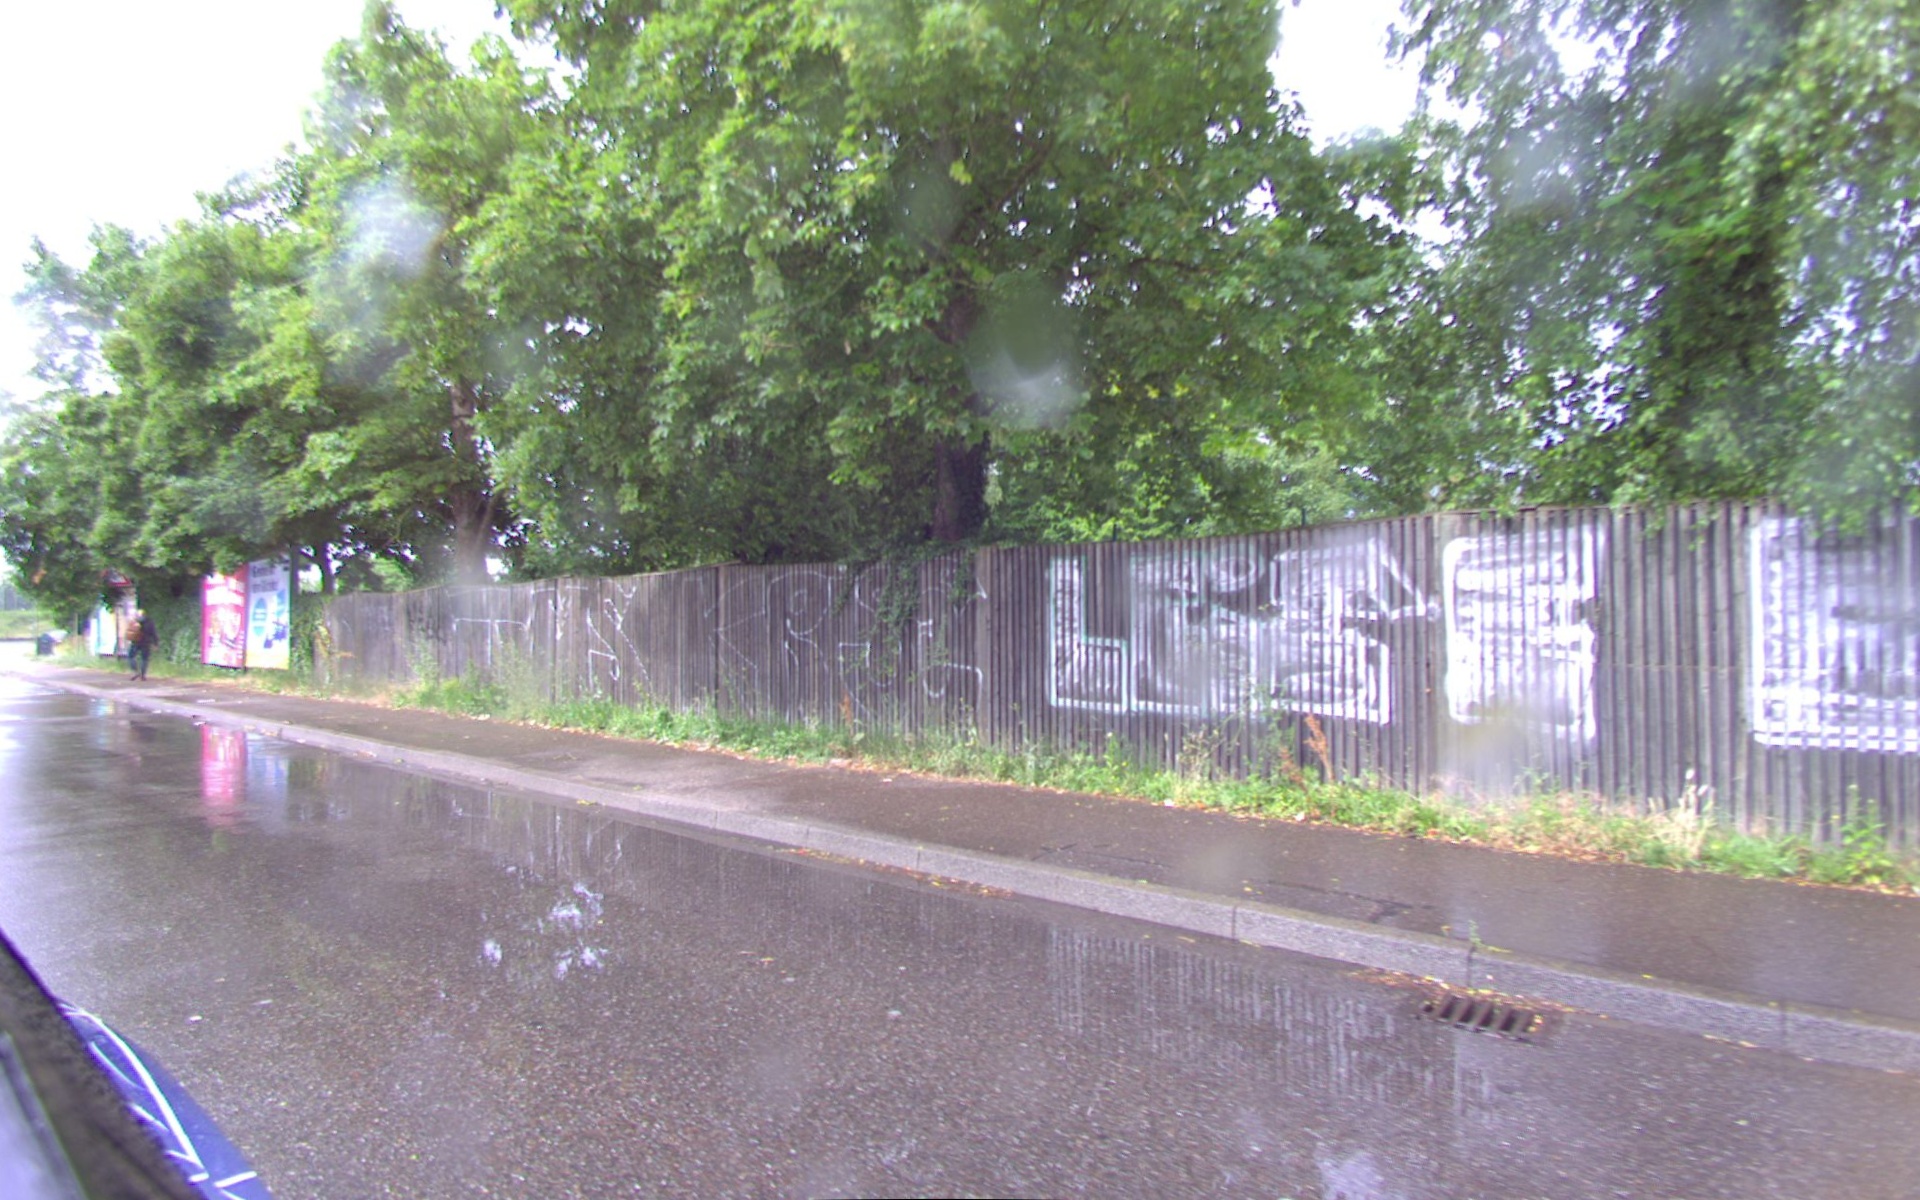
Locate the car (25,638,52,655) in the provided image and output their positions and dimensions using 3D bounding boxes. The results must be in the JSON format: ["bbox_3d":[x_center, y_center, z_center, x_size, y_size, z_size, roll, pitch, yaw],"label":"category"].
[{"bbox_3d":[-92.996,4.699,102.165,1.770,1.645,3.625,0,-2,-39],"label":"car"}]

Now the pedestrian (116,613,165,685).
[{"bbox_3d":[-20.772,1.229,25.646,0.644,1.783,0.830,-2,-3,40],"label":"pedestrian"}]
